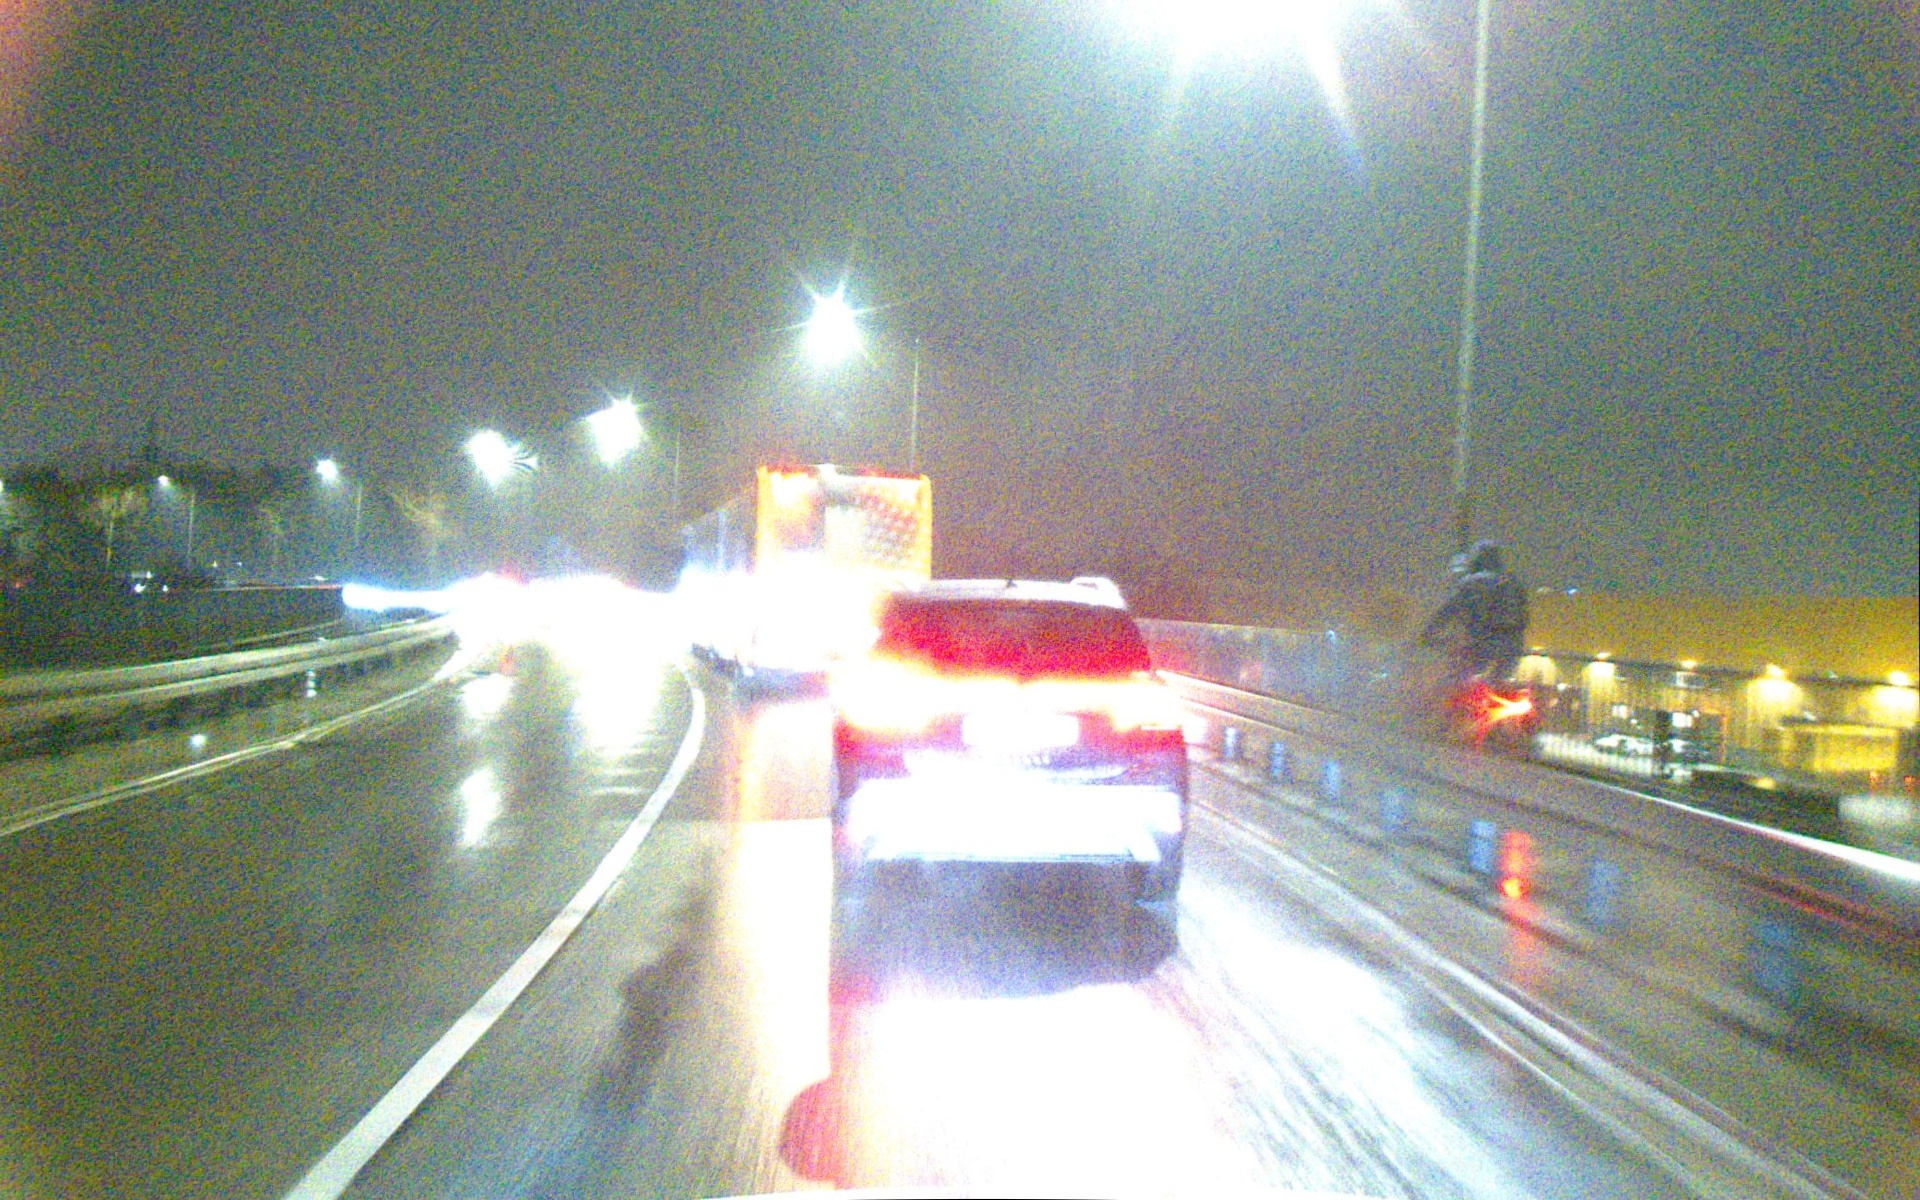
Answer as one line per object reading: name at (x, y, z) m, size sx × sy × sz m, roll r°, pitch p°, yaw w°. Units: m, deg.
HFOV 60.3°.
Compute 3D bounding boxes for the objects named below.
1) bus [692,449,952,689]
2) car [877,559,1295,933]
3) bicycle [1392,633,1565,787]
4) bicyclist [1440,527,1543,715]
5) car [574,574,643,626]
bus at (-2.845, -0.470, 28.488) m, size 3.029 × 3.187 × 12.661 m, roll 0°, pitch 1°, yaw -11°
car at (0.502, 0.649, 9.255) m, size 1.818 × 1.614 × 3.998 m, roll 1°, pitch 0°, yaw -2°
bicycle at (3.965, 0.803, 12.824) m, size 0.475 × 1.052 × 2.169 m, roll 1°, pitch 0°, yaw -5°
bicyclist at (4.022, 0.151, 12.558) m, size 0.444 × 1.373 × 0.763 m, roll 2°, pitch 0°, yaw -6°
car at (-12.571, 0.014, 59.069) m, size 1.615 × 1.685 × 3.679 m, roll 1°, pitch -3°, yaw -25°
